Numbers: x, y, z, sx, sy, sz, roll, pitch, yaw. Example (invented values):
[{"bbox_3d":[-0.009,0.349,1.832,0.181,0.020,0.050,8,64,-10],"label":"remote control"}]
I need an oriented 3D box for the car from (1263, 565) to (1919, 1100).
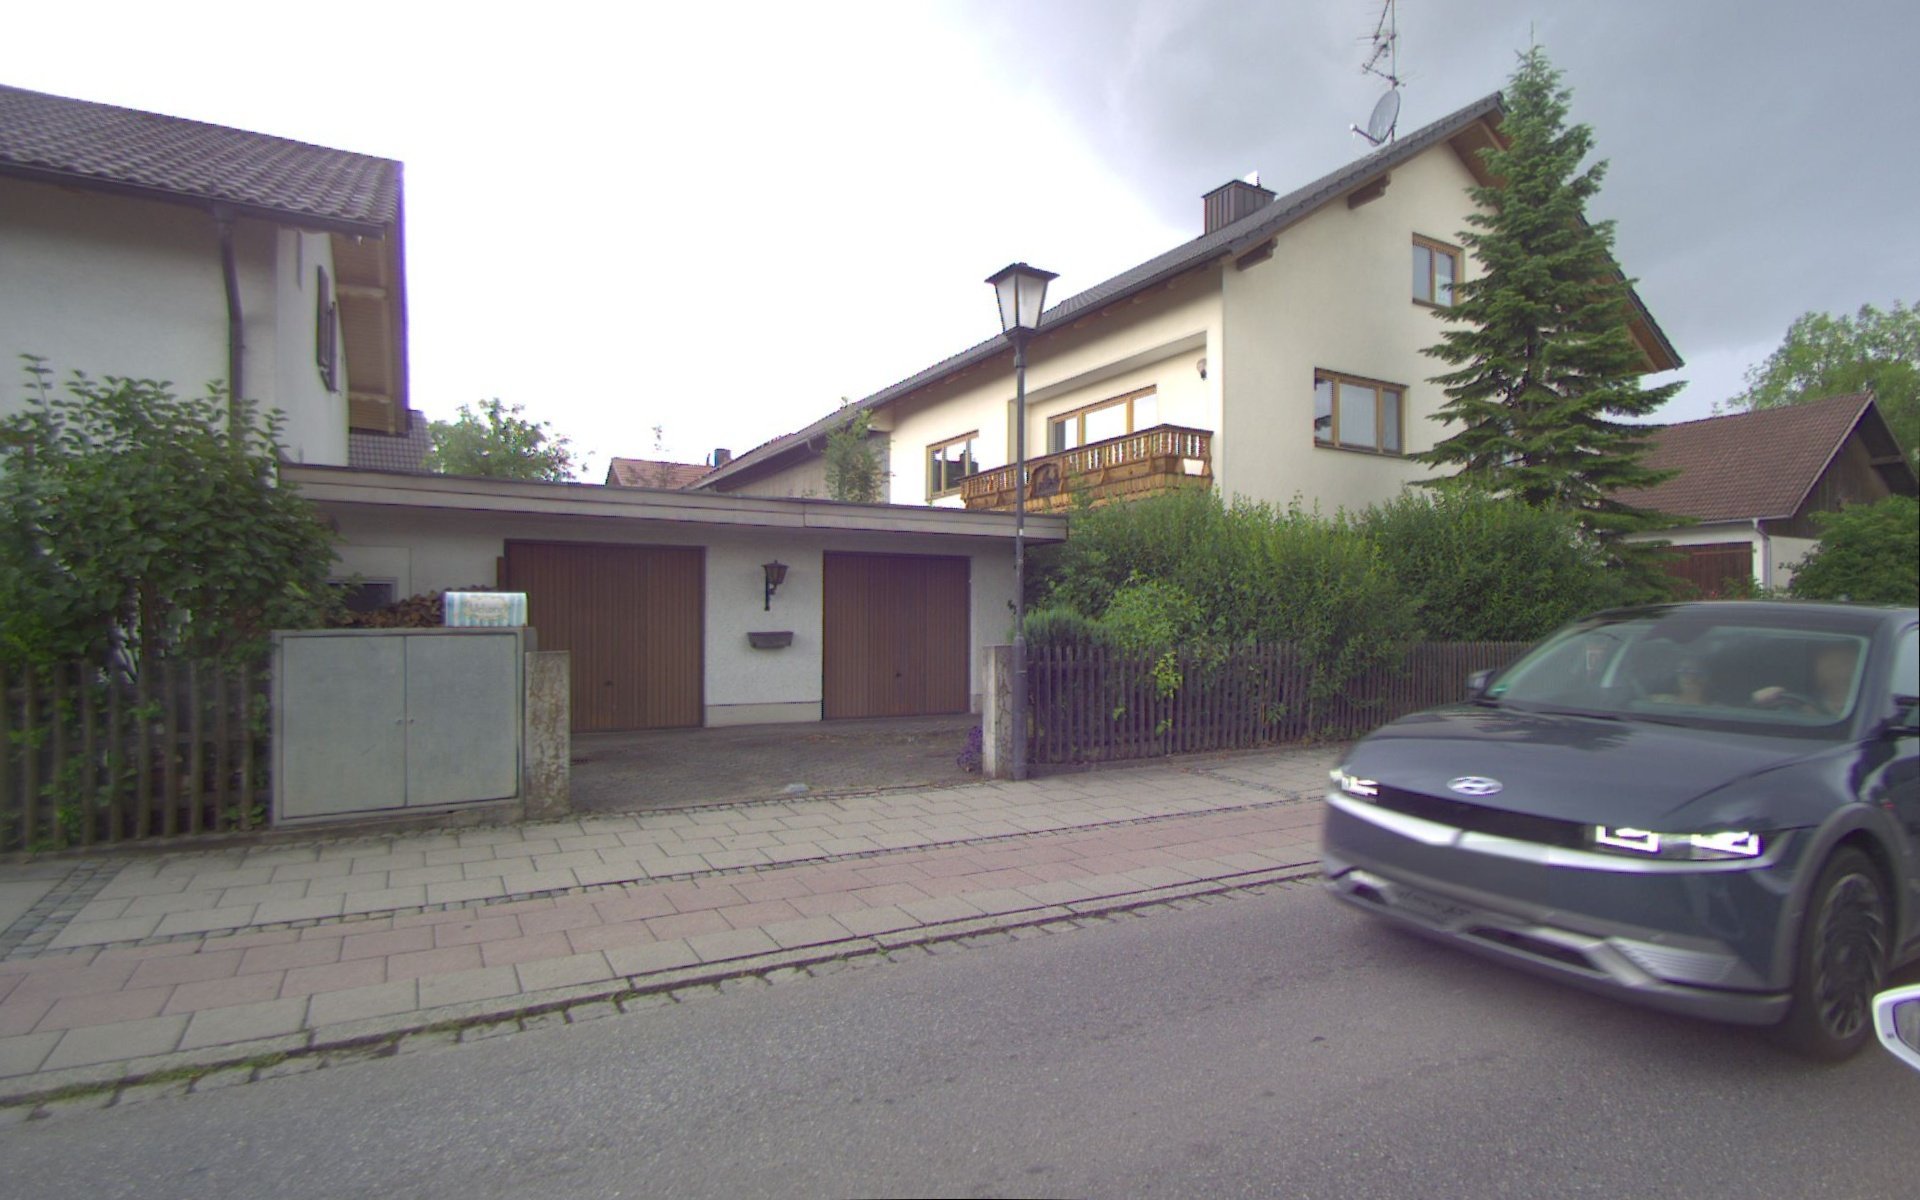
[{"bbox_3d":[3.731,0.740,4.902,4.260,1.596,1.921,1,-1,-30],"label":"car"}]
